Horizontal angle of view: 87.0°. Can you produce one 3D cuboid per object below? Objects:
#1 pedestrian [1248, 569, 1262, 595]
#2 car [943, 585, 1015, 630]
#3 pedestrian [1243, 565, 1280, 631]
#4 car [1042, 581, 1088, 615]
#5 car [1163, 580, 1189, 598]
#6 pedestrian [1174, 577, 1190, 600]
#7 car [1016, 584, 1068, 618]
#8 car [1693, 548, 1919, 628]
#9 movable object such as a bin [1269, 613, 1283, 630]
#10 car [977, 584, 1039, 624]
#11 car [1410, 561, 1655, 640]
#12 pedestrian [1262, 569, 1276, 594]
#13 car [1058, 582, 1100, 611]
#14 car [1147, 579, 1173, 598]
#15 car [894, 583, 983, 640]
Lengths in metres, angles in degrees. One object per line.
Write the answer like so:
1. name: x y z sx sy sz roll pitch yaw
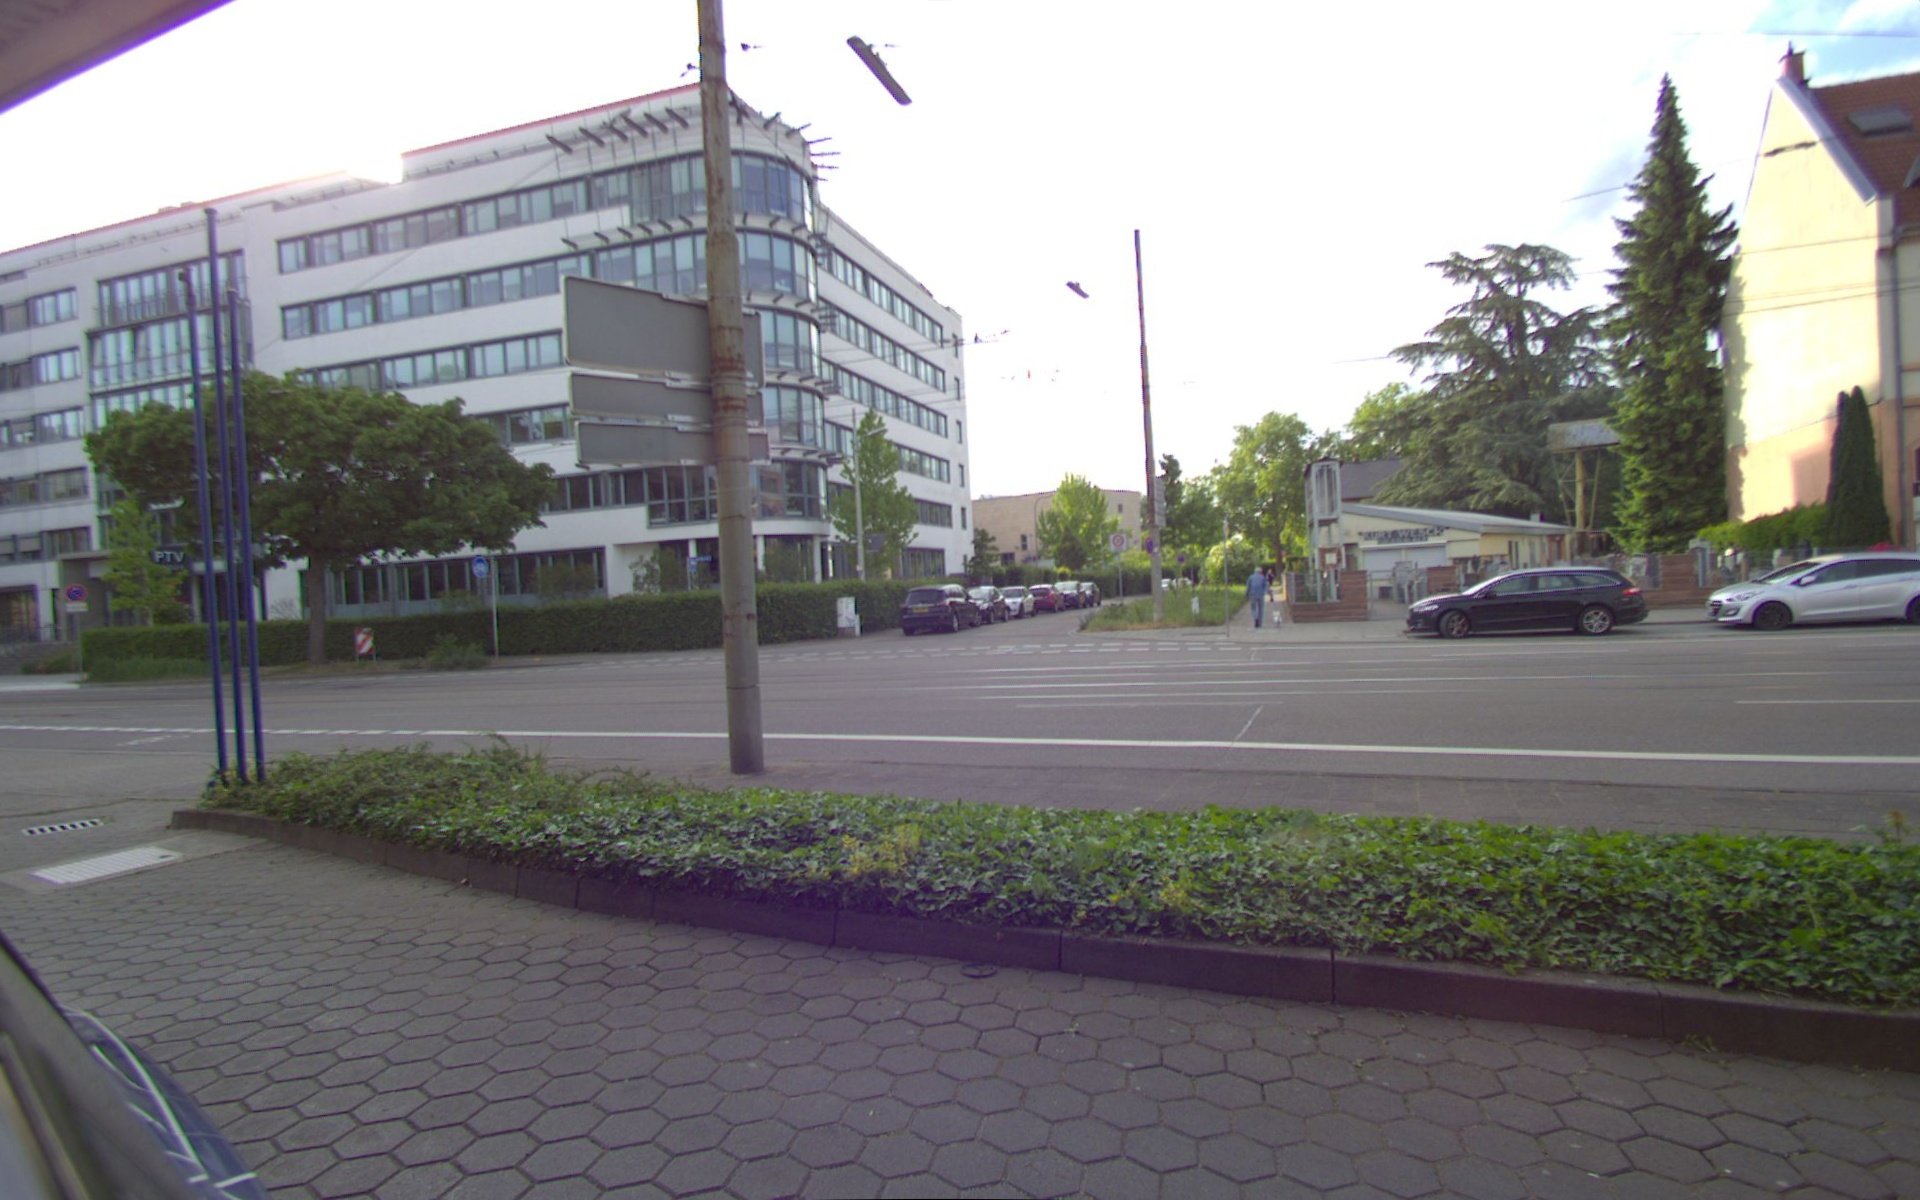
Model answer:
1. pedestrian: 22.375 -1.375 76.691 0.965 1.896 1.056 -1 0 17
2. car: 0.840 0.265 40.990 1.807 1.589 4.175 -4 0 16
3. pedestrian: 8.419 -0.061 28.287 0.901 1.712 0.921 -2 5 16
4. car: 6.041 -0.145 57.813 1.807 1.704 4.392 -4 0 16
5. car: 22.848 -1.176 106.861 1.813 1.654 4.040 -4 0 25
6. pedestrian: 19.077 -0.997 86.914 0.972 1.896 1.048 -1 0 37
7. car: 4.310 0.014 52.415 1.807 1.589 4.175 -4 0 16
8. car: 18.414 -0.270 21.405 4.349 1.493 1.732 -3 1 22
9. movable object such as a bin: 8.811 0.587 28.236 0.363 0.397 0.660 -3 4 17
10. car: 2.233 0.145 45.694 1.807 1.589 4.175 -4 0 16
11. car: 13.021 0.006 23.375 4.632 1.533 1.842 -3 2 22
12. pedestrian: 23.348 -1.388 76.399 0.965 1.896 1.056 -1 0 17
13. car: 7.396 -0.224 62.579 1.807 1.585 4.052 -4 0 16
14. car: 19.970 -1.154 100.915 1.811 1.654 4.044 -4 0 22
15. car: -0.678 0.353 35.575 1.807 1.701 4.370 -4 1 16
